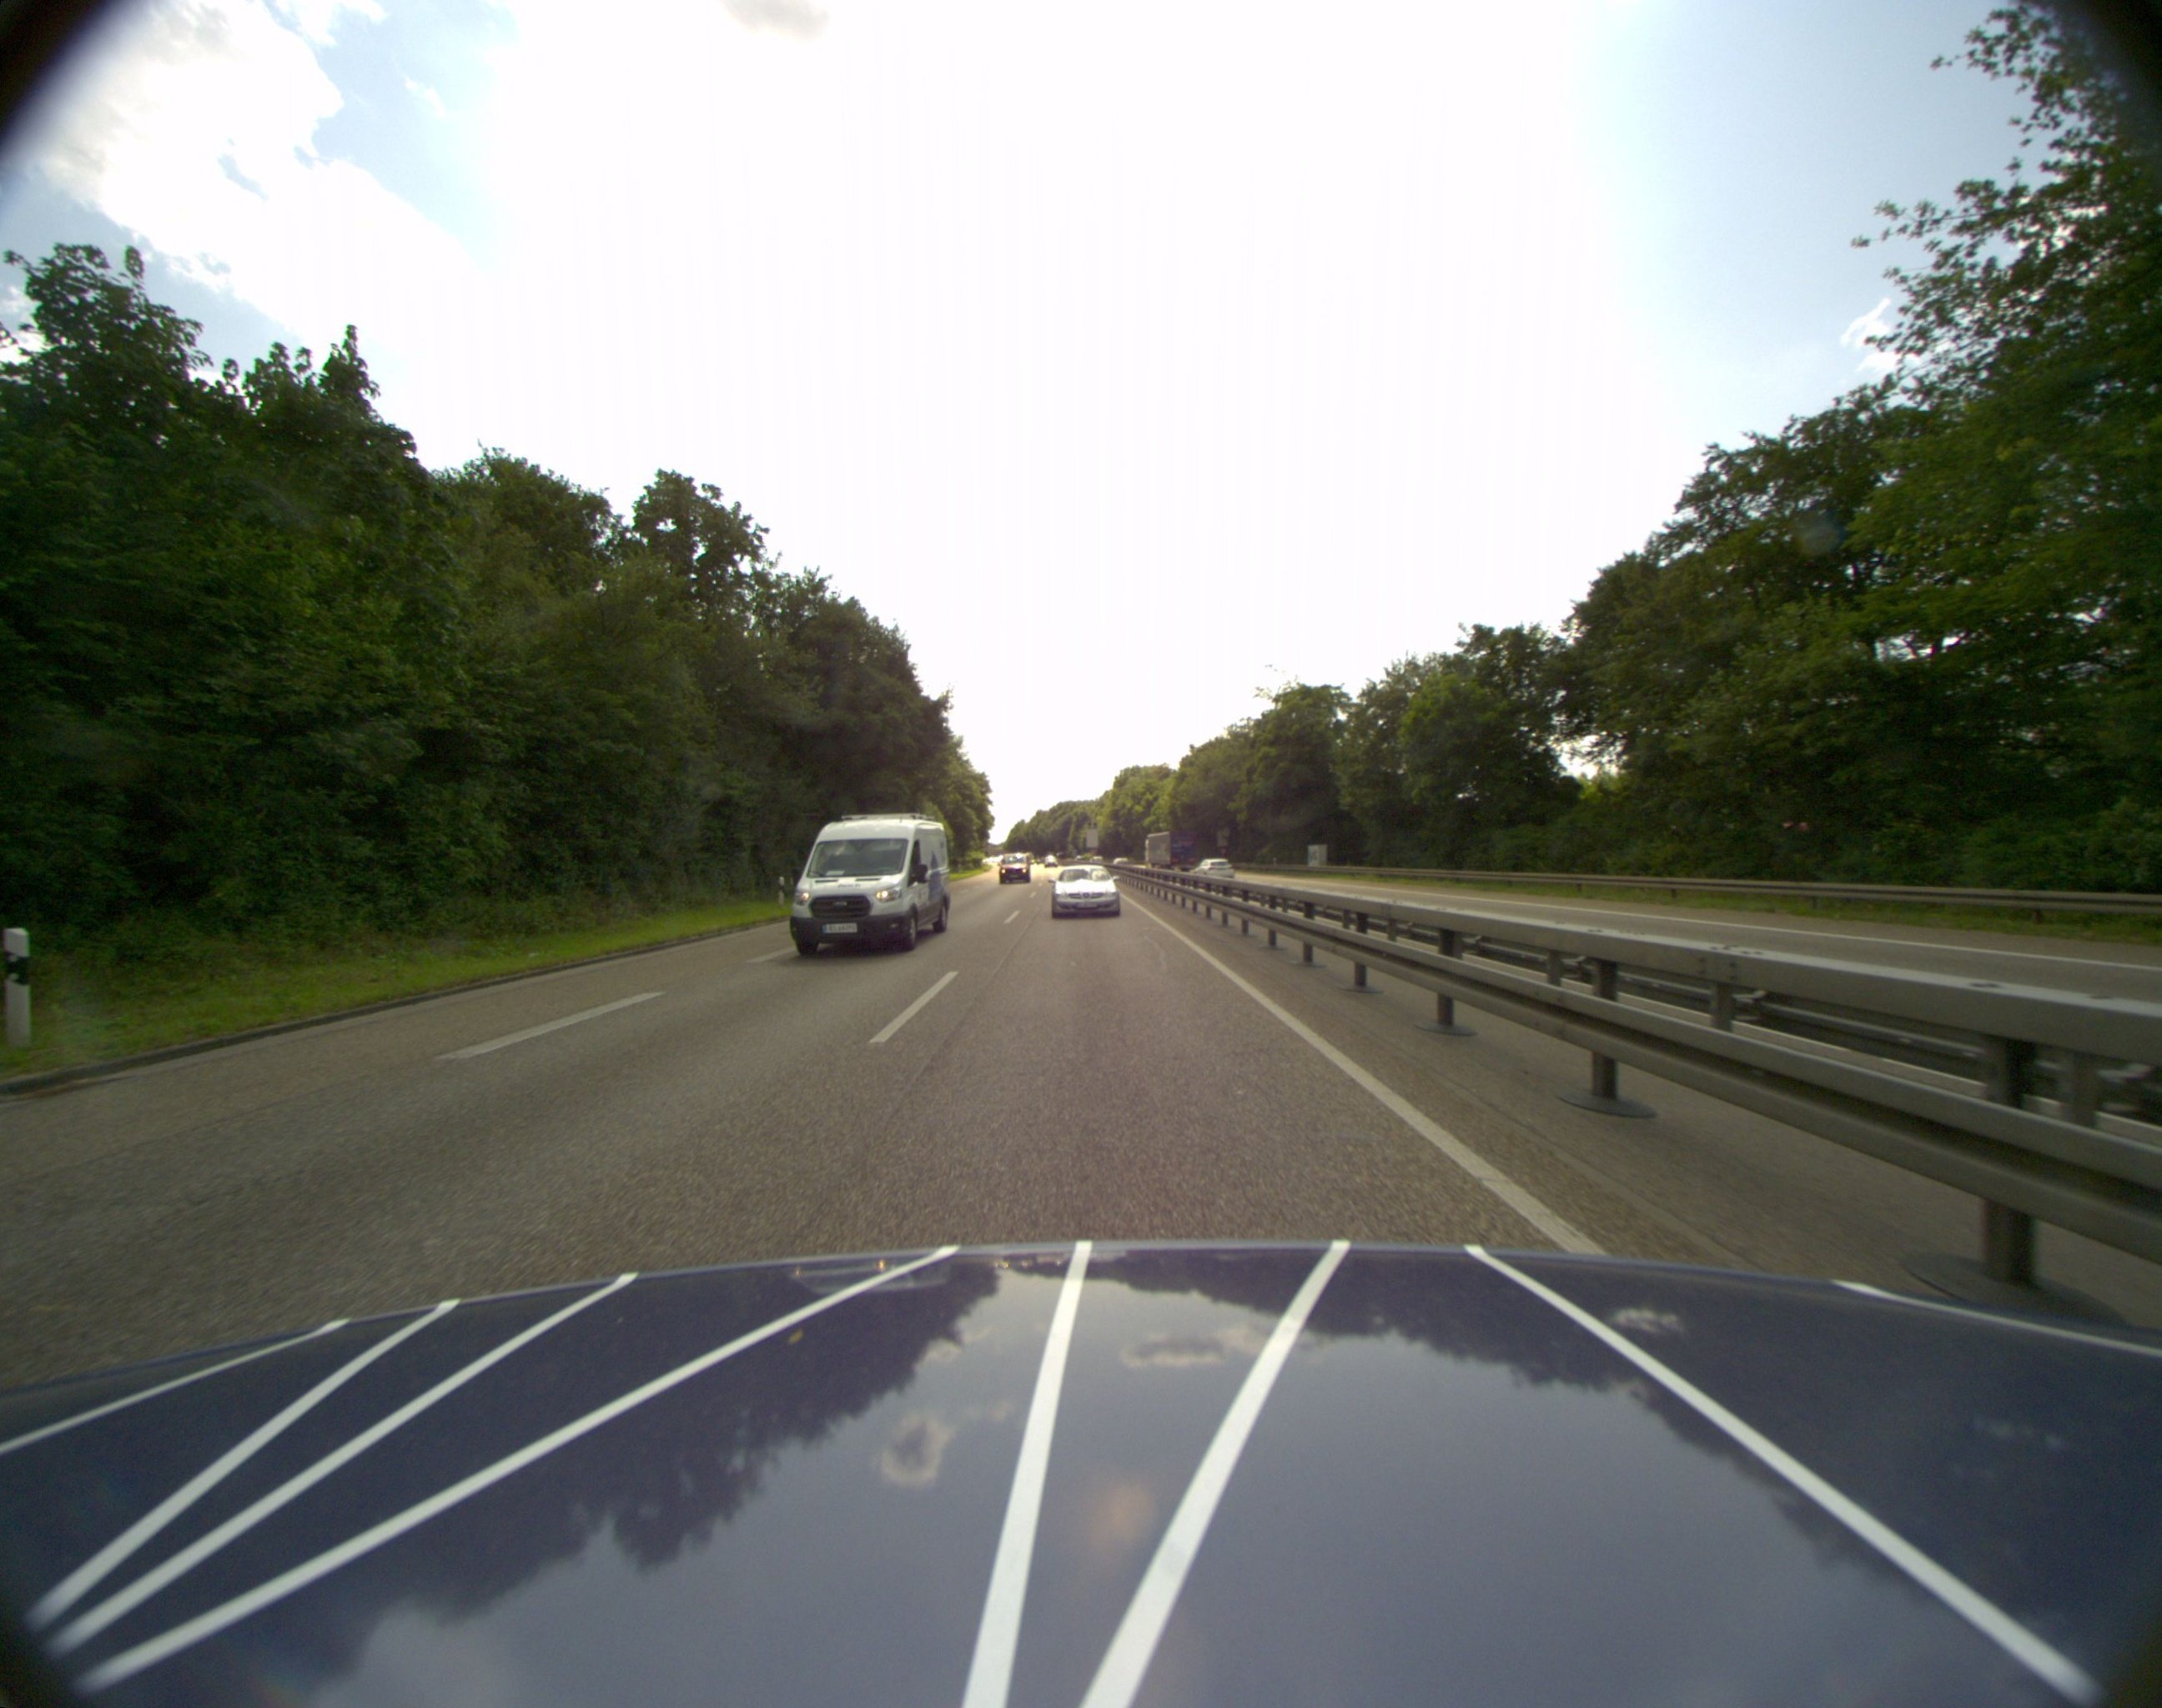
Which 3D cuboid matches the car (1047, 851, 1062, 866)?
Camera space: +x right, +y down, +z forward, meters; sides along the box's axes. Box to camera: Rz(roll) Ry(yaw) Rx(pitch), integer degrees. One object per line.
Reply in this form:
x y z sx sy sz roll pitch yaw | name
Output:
-3.760 0.638 106.859 1.999 2.002 3.999 -1 0 -2 | car

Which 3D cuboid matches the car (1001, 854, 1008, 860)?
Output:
-18.541 0.712 184.172 1.786 1.512 3.998 -1 0 -5 | car

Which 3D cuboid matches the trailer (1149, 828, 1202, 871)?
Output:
9.779 -0.537 80.454 3.413 4.056 12.975 -2 1 -2 | trailer

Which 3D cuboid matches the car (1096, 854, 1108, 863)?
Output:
3.380 0.691 122.997 1.860 1.506 3.992 -1 0 -1 | car

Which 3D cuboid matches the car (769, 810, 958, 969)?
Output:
-3.951 0.573 14.937 2.104 2.493 5.278 -2 0 0 | car

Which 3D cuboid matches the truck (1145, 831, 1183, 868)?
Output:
9.521 -0.513 87.537 3.384 4.073 6.128 -2 1 -2 | truck

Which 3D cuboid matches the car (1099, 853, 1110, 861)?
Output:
4.662 0.522 149.258 1.860 1.506 3.992 -1 0 -1 | car

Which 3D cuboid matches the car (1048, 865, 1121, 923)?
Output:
0.084 1.029 21.300 1.751 1.295 5.223 -1 0 0 | car

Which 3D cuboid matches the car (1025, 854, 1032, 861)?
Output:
-12.634 0.856 181.938 1.700 1.579 3.998 0 0 -3 | car

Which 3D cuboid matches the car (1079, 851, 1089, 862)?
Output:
0.570 0.535 141.523 1.860 2.004 3.992 -1 0 -1 | car

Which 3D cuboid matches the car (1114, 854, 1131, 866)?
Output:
4.938 0.700 90.804 1.667 1.436 4.008 -1 0 -2 | car

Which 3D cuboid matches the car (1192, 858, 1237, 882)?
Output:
8.495 0.996 48.611 1.683 1.422 4.548 -2 0 -5 | car

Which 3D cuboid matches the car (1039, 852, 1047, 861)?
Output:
-7.030 0.444 139.960 1.473 1.560 3.294 0 0 -2 | car

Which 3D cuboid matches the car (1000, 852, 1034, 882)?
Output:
-4.085 0.799 48.996 1.909 1.795 4.394 -2 0 -2 | car

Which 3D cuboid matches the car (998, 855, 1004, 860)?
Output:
-25.076 1.033 237.872 1.786 1.512 3.998 -1 0 -6 | car
